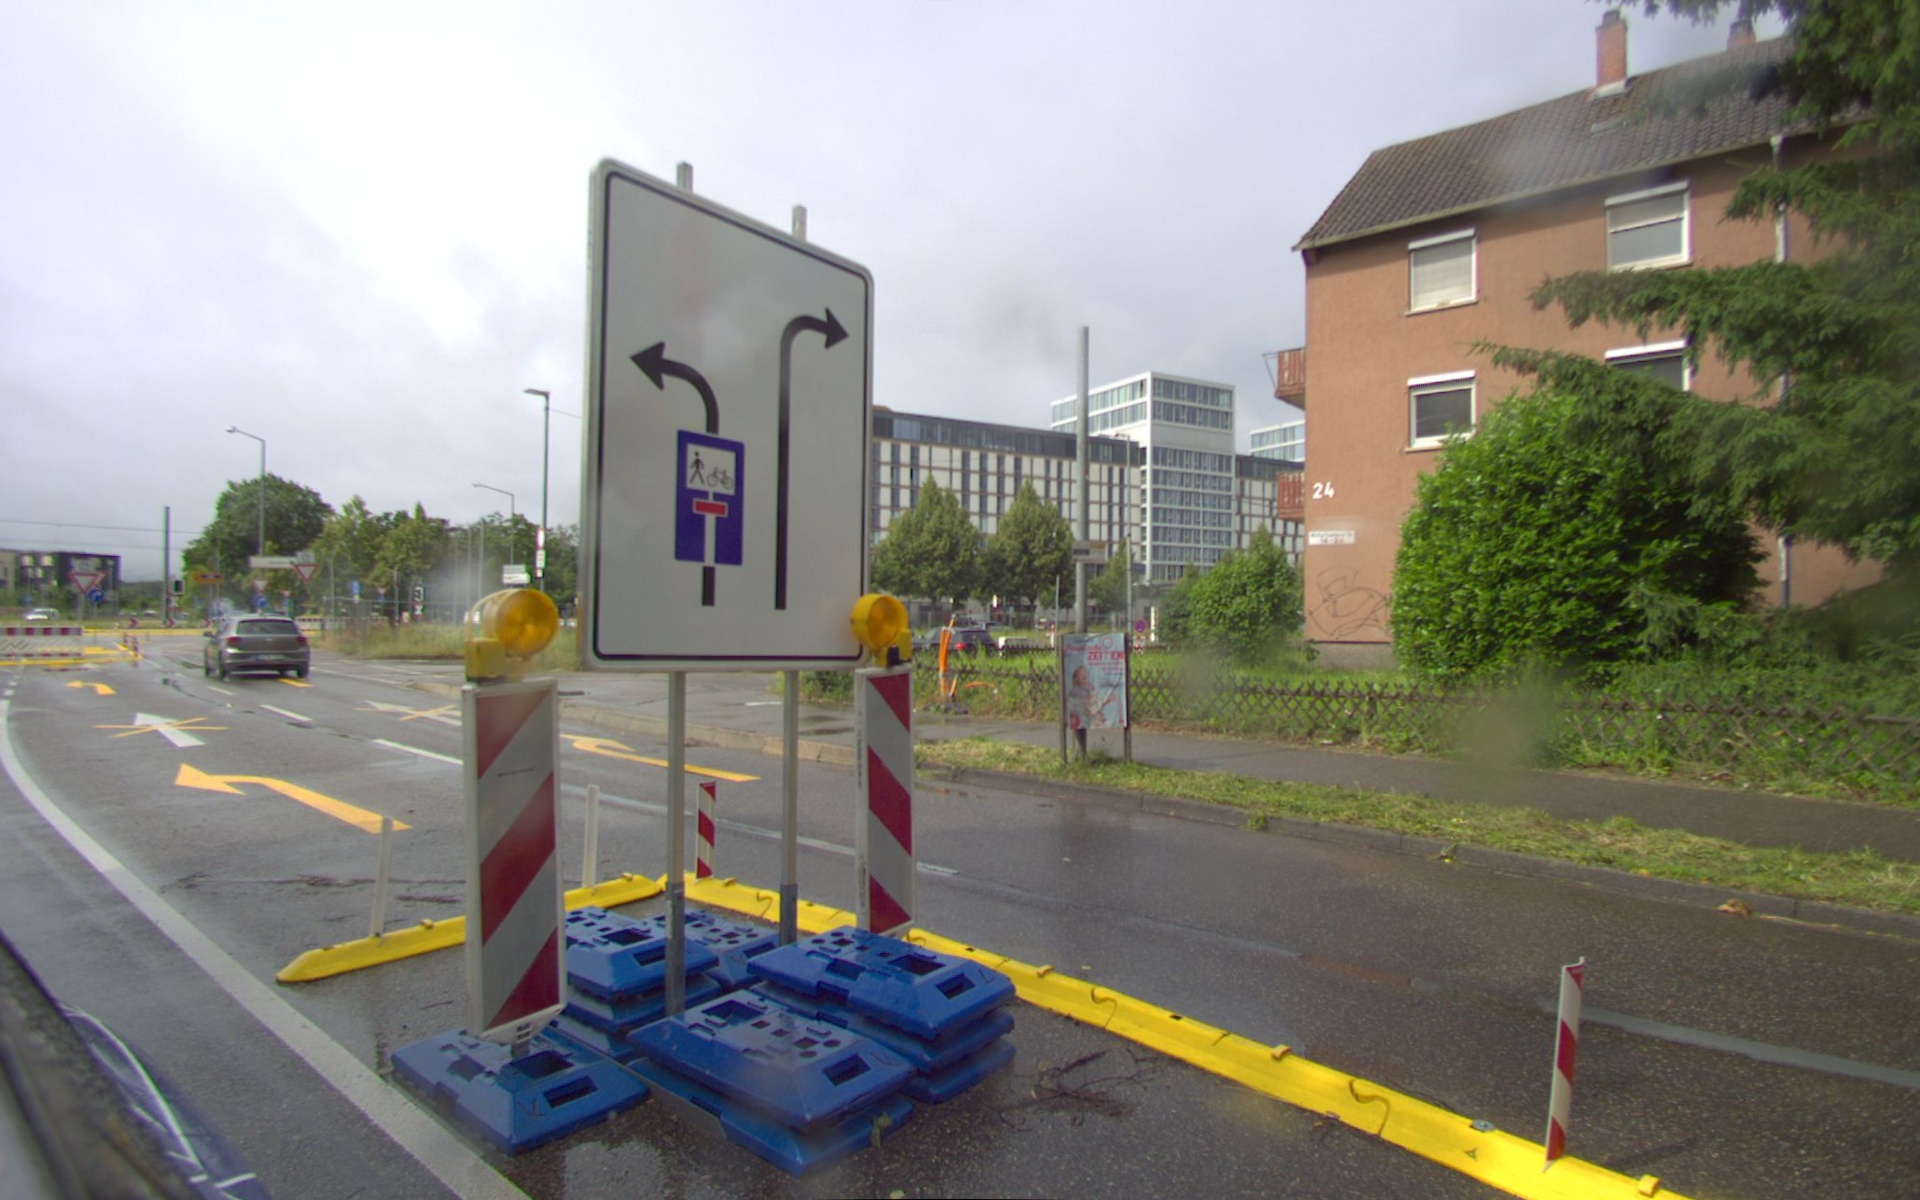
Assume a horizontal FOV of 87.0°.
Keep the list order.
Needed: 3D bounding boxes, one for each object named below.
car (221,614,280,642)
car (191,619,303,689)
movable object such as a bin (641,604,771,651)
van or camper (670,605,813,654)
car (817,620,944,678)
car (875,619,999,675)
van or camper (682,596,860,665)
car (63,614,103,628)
[{"bbox_3d":[-38.002,1.496,54.294,1.713,1.425,4.193,0,-1,-23],"label":"car"},{"bbox_3d":[-16.983,1.229,24.049,1.660,1.519,3.797,2,-2,-43],"label":"car"},{"bbox_3d":[-13.543,1.436,53.921,6.500,2.405,2.684,0,-1,-19],"label":"movable object such as a bin"},{"bbox_3d":[-10.190,1.362,47.138,6.289,2.205,2.447,0,-1,-18],"label":"van or camper"},{"bbox_3d":[-2.487,1.423,30.719,1.731,1.630,4.336,1,-1,-38],"label":"car"},{"bbox_3d":[-0.796,1.426,31.887,1.731,1.630,4.267,1,-1,-38],"label":"car"},{"bbox_3d":[-7.767,1.214,41.476,6.863,2.667,2.519,0,-1,-18],"label":"van or camper"},{"bbox_3d":[-93.260,2.236,107.637,1.642,1.541,3.488,0,-1,-10],"label":"car"}]
